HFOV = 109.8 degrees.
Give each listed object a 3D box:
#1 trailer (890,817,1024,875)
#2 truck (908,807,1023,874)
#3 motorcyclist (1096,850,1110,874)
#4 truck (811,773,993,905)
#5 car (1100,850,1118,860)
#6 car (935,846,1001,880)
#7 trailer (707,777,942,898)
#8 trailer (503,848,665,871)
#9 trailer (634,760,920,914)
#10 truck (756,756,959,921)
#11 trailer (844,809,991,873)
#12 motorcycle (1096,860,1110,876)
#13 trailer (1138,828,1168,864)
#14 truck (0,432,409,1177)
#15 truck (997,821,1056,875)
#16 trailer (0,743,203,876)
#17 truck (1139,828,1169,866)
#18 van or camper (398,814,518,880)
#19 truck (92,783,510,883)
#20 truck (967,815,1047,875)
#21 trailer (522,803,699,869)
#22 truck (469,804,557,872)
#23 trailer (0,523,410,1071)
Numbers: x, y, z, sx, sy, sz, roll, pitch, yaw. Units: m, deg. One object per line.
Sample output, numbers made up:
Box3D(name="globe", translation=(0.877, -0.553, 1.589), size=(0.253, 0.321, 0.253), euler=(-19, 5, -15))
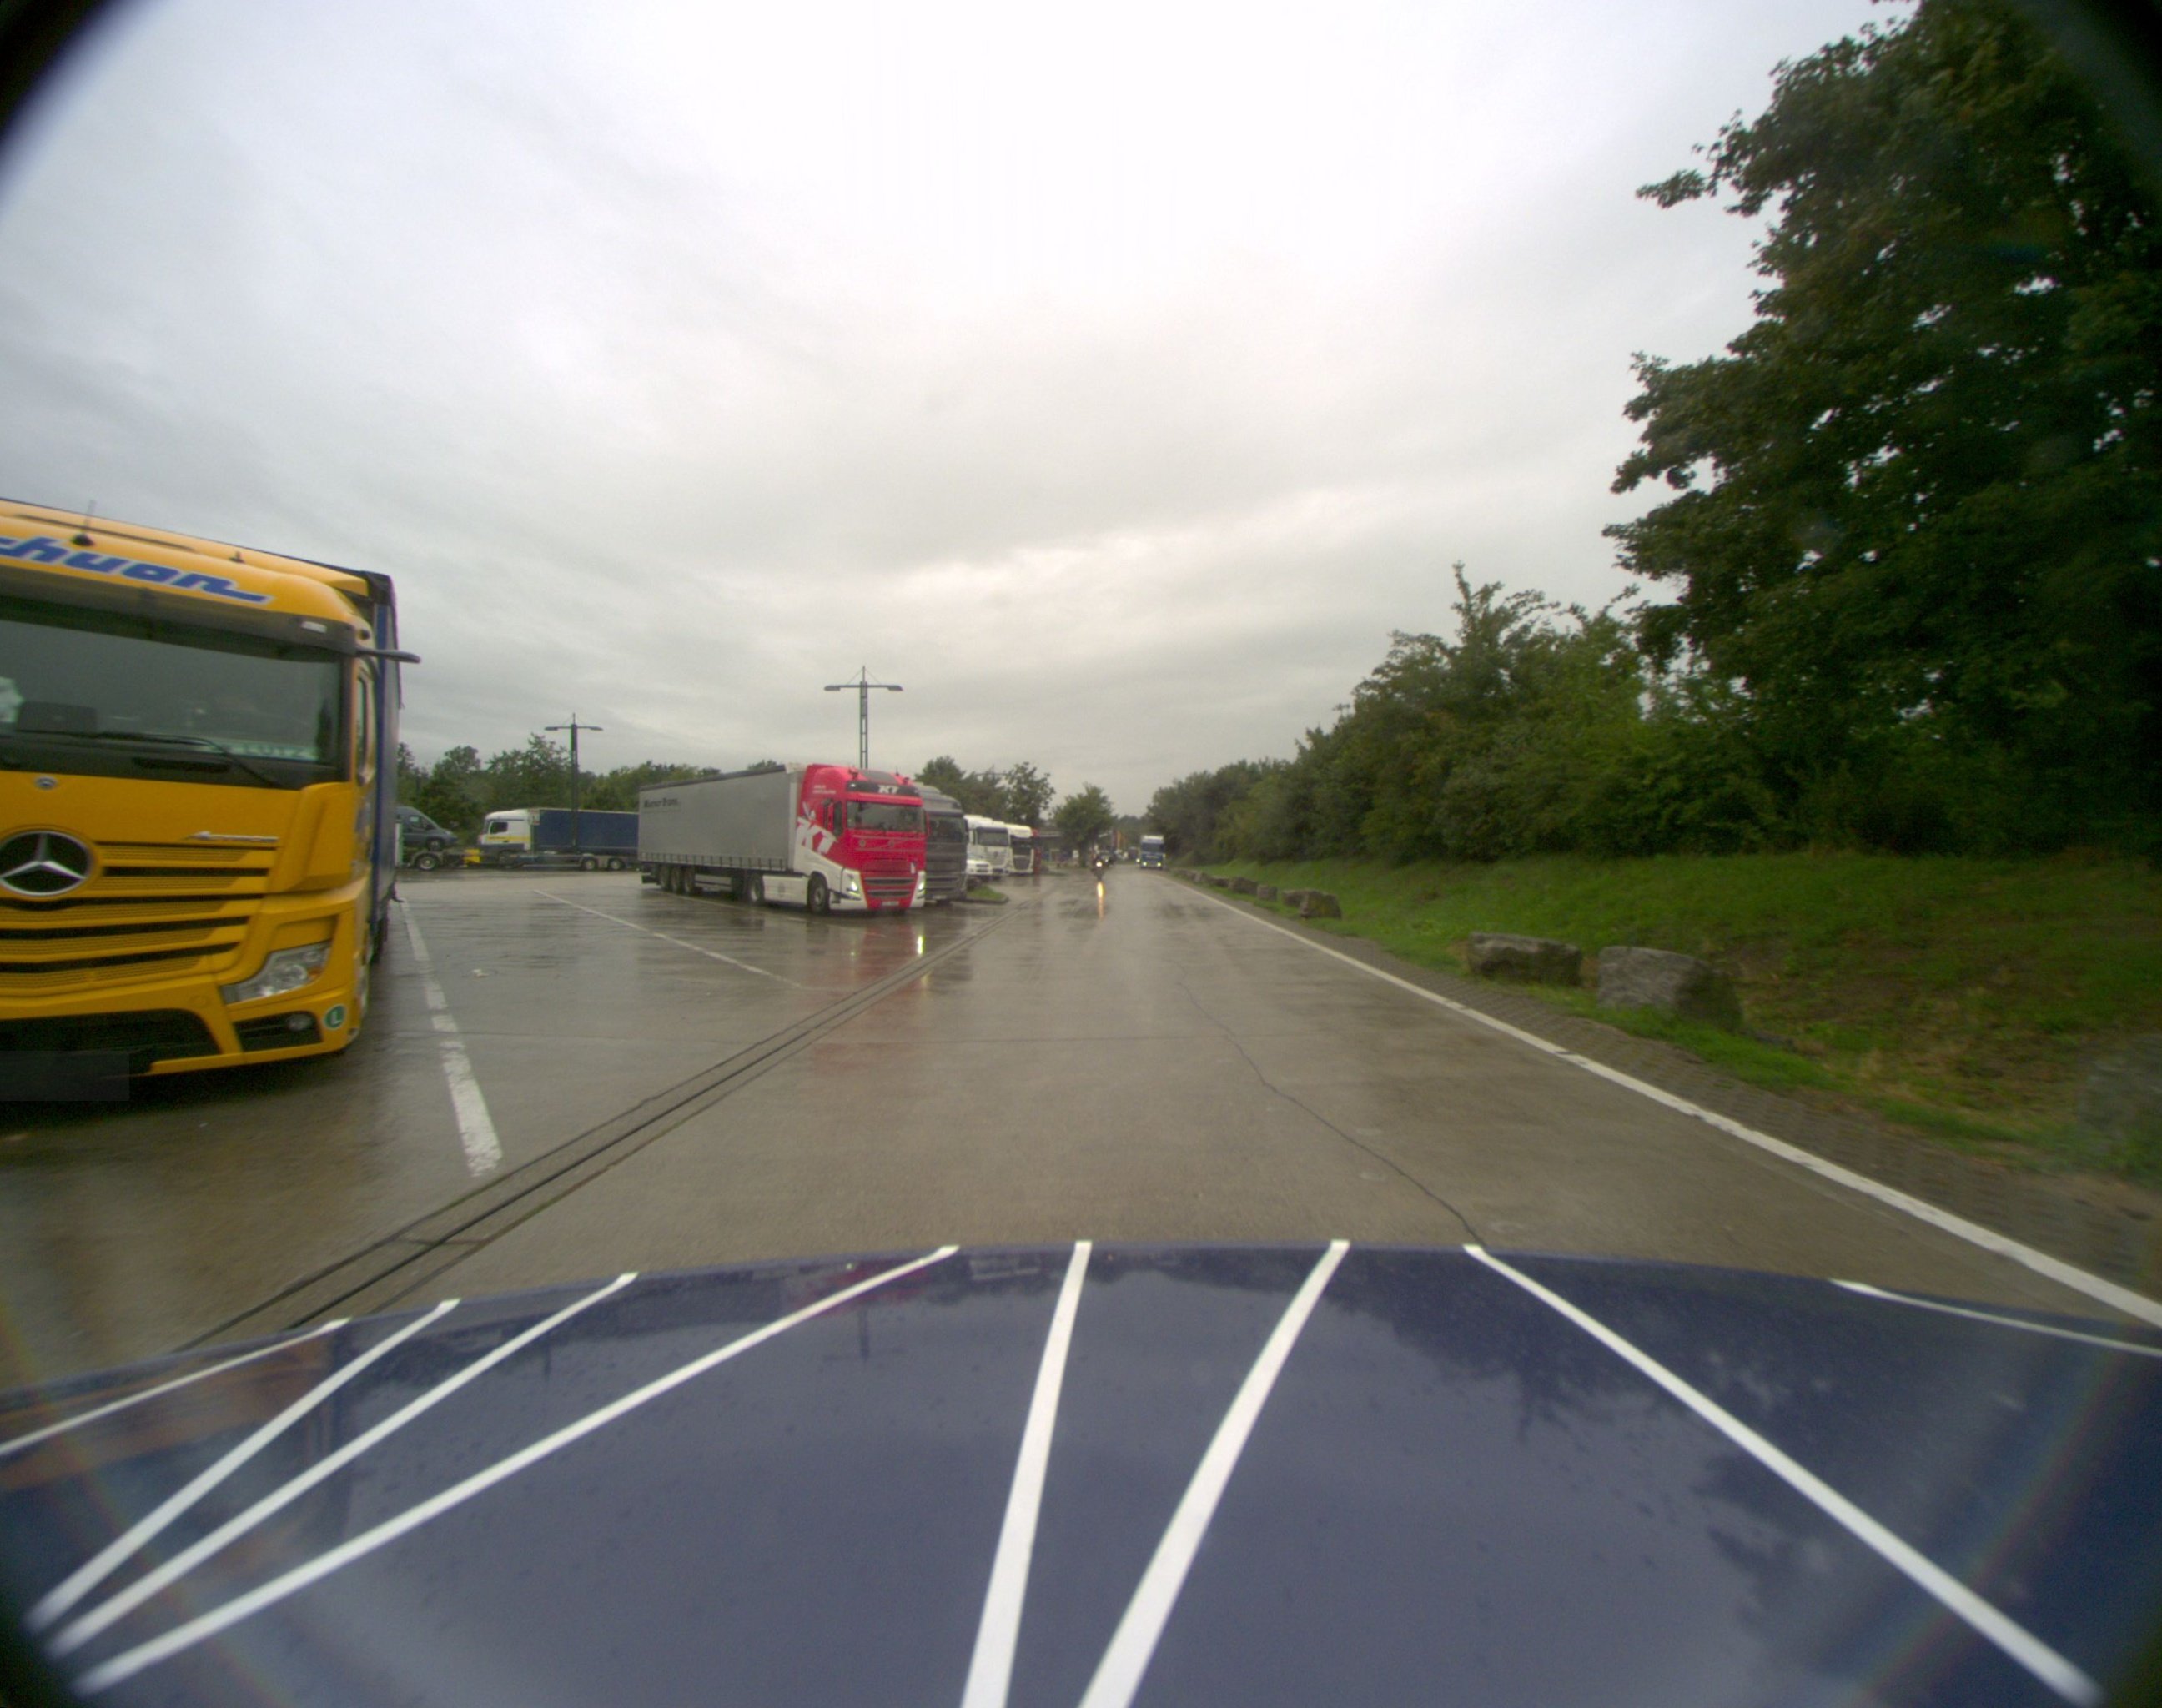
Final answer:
Box3D(name="trailer", translation=(-10.724, -0.664, 63.581), size=(14.354, 4.361, 3.253), euler=(1, 1, 45))
Box3D(name="truck", translation=(-7.711, -0.868, 49.916), size=(7.914, 4.067, 3.253), euler=(2, 1, 45))
Box3D(name="motorcyclist", translation=(1.471, 0.519, 49.970), size=(0.878, 1.558, 1.373), euler=(1, 0, 2))
Box3D(name="truck", translation=(-6.228, -0.477, 25.782), size=(6.536, 3.896, 2.906), euler=(2, 1, 45))
Box3D(name="car", translation=(4.482, 0.194, 120.596), size=(1.859, 1.587, 4.129), euler=(0, 1, 18))
Box3D(name="car", translation=(-6.563, 0.472, 44.008), size=(1.852, 1.848, 3.988), euler=(-1, 1, -43))
Box3D(name="trailer", translation=(-10.809, -0.648, 30.269), size=(13.894, 3.896, 2.883), euler=(2, 1, 45))
Box3D(name="trailer", translation=(-30.653, 0.300, 47.147), size=(7.980, 1.281, 3.236), euler=(0, 1, -43))
Box3D(name="trailer", translation=(-11.000, -0.551, 25.563), size=(14.786, 3.896, 3.253), euler=(2, 1, 45))
Box3D(name="truck", translation=(-6.210, -0.394, 20.835), size=(5.006, 3.896, 3.253), euler=(2, 1, 45))
Box3D(name="trailer", translation=(-11.991, -0.960, 54.147), size=(13.492, 4.067, 3.253), euler=(2, 1, 45))
Box3D(name="motorcycle", translation=(1.465, 0.939, 50.083), size=(0.878, 1.016, 2.353), euler=(1, -1, 2))
Box3D(name="trailer", translation=(9.028, -0.997, 97.024), size=(3.243, 4.361, 13.767), euler=(0, 0, 3))
Box3D(name="truck", translation=(-8.214, -0.314, 7.122), size=(2.846, 3.896, 8.106), euler=(1, 1, -41))
Box3D(name="truck", translation=(-4.646, -0.502, 64.203), size=(4.615, 4.361, 2.612), euler=(1, 1, 45))
Box3D(name="trailer", translation=(-32.620, -1.193, 21.143), size=(10.408, 3.734, 2.064), euler=(-3, 1, -45))
Box3D(name="truck", translation=(8.669, -0.881, 90.479), size=(3.243, 4.361, 6.314), euler=(0, 1, 3))
Box3D(name="van or camper", translation=(-32.577, -0.388, 39.797), size=(4.616, 3.219, 2.264), euler=(-3, 1, -42))
Box3D(name="truck", translation=(-38.894, -0.931, 39.349), size=(14.599, 4.361, 3.468), euler=(0, 1, -42))
Box3D(name="truck", translation=(-5.772, -0.708, 58.712), size=(5.796, 4.361, 3.253), euler=(1, 1, 45))
Box3D(name="trailer", translation=(-33.850, -1.207, 55.115), size=(10.483, 4.361, 3.087), euler=(0, 1, -43))
Box3D(name="truck", translation=(-38.163, -1.036, 51.064), size=(4.406, 4.361, 3.087), euler=(-1, 1, -43))
Box3D(name="trailer", translation=(-12.683, -0.536, 12.066), size=(2.875, 3.896, 16.584), euler=(1, 1, -42))
